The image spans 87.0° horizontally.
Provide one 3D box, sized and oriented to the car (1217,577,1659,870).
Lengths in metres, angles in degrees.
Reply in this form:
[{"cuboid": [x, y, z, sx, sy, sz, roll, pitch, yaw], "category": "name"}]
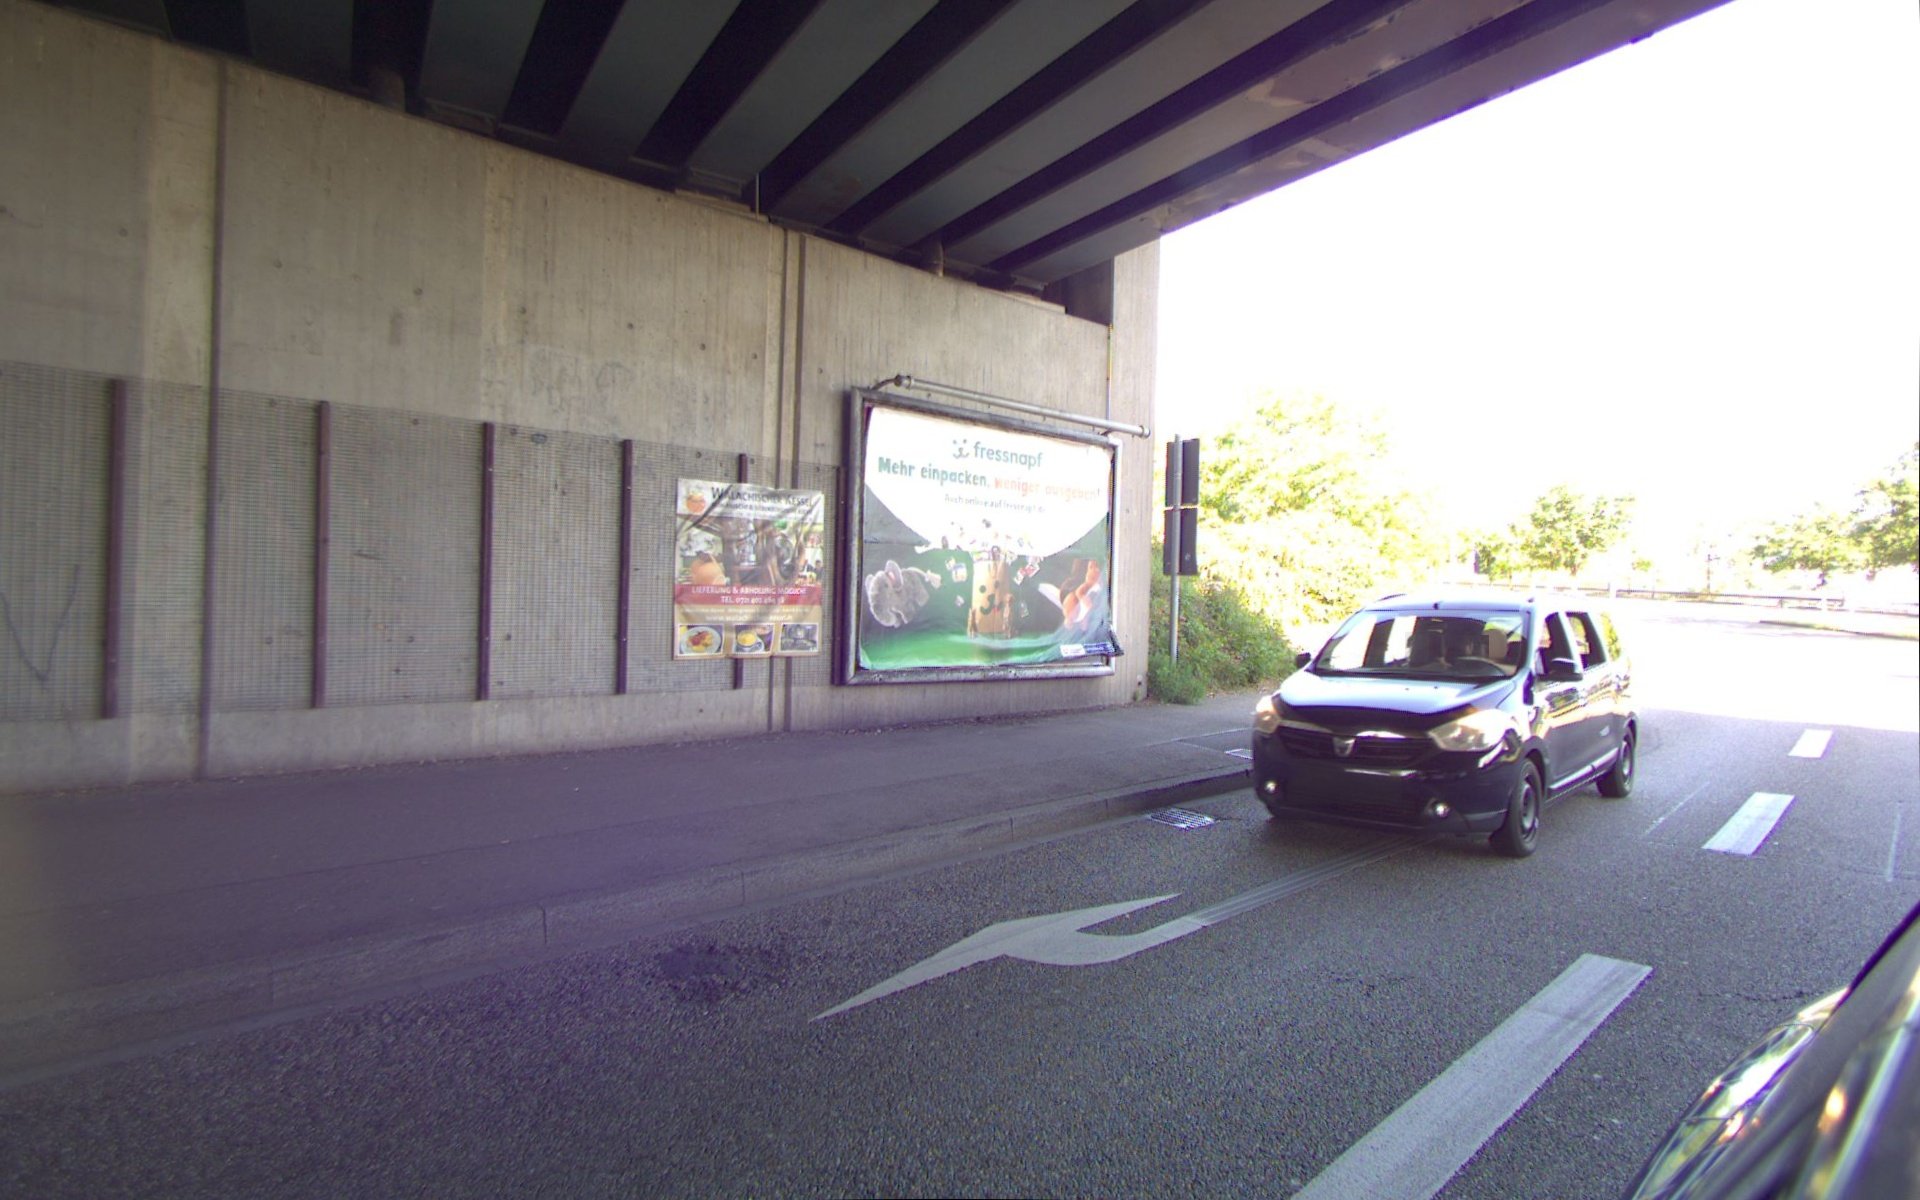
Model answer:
[{"cuboid": [3.791, 0.665, 7.661, 4.038, 1.621, 1.775, -1, 0, -45], "category": "car"}]
